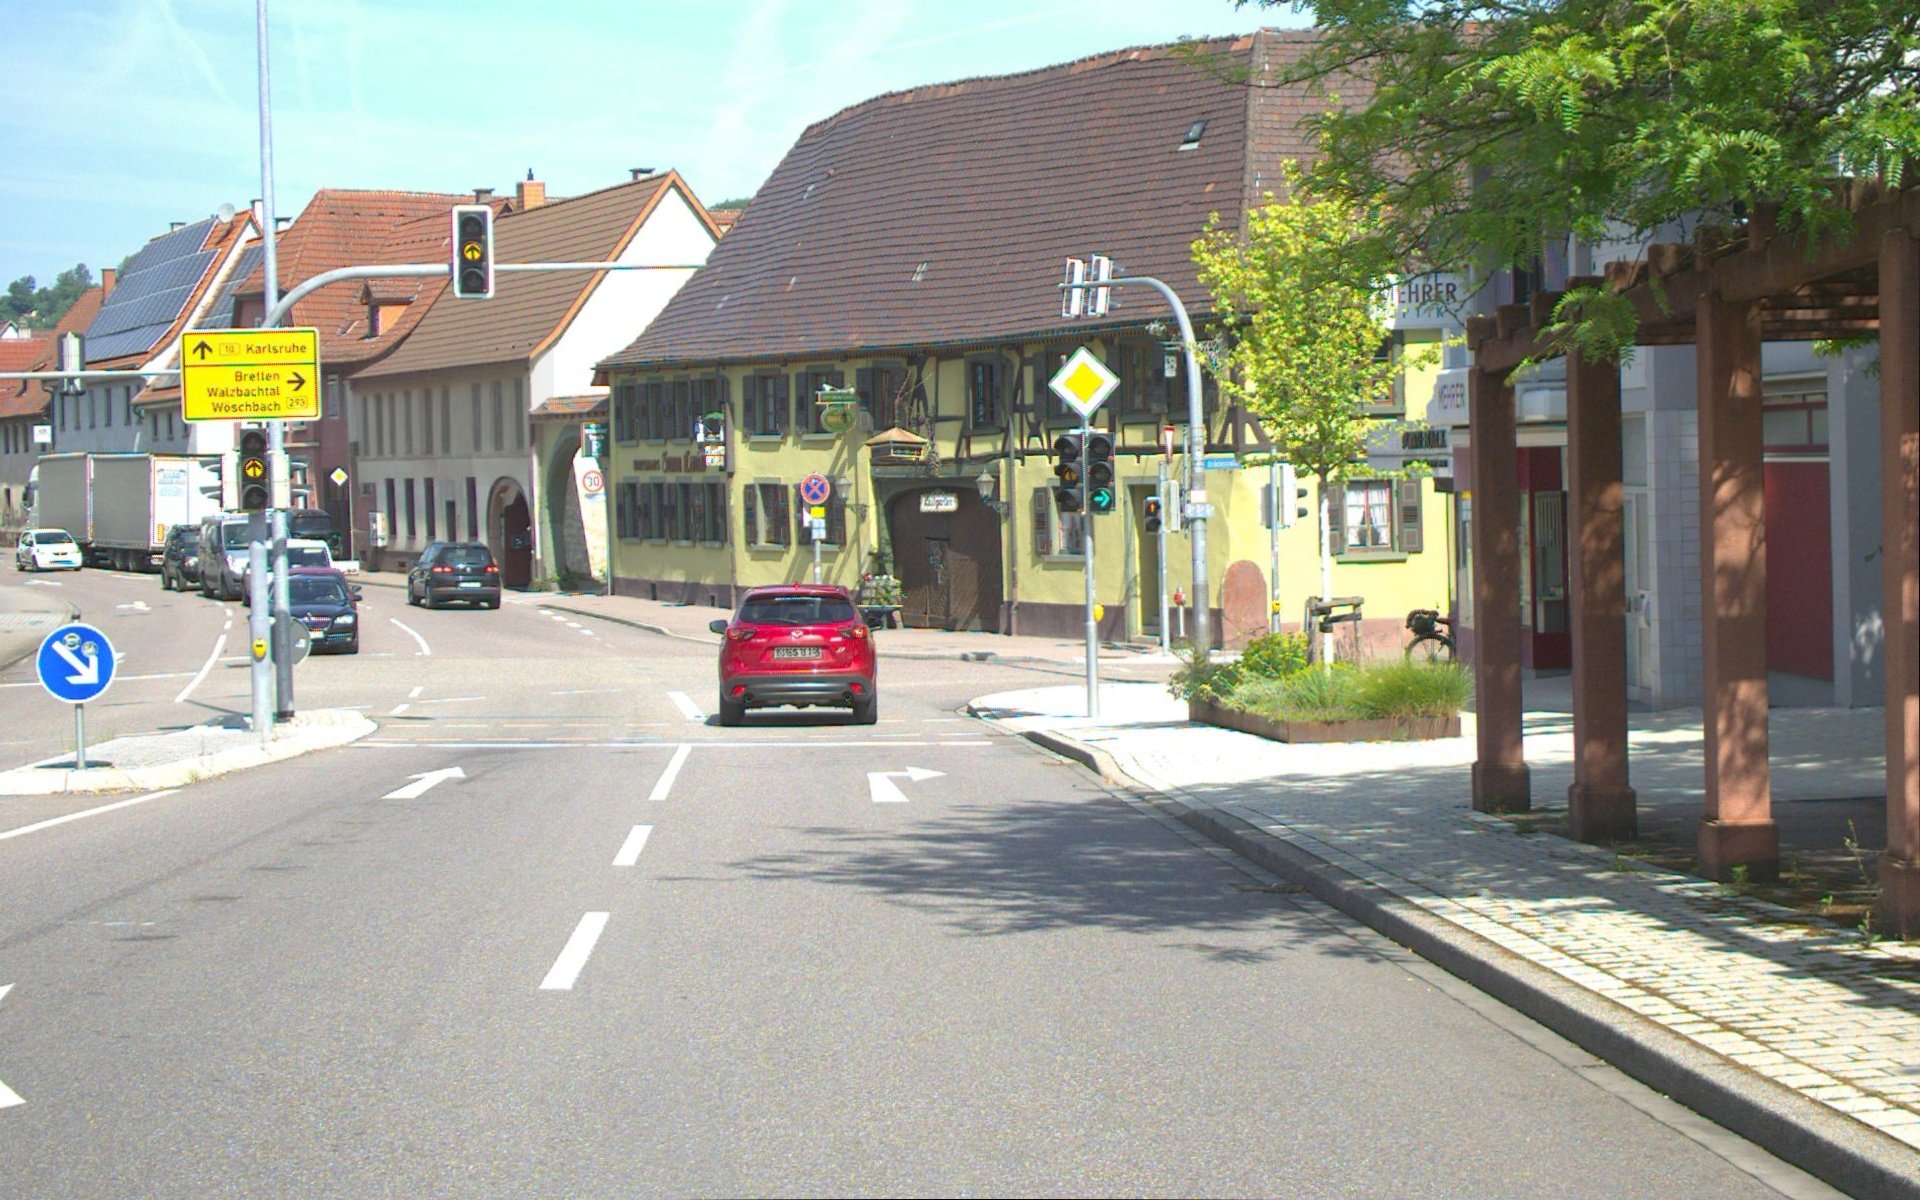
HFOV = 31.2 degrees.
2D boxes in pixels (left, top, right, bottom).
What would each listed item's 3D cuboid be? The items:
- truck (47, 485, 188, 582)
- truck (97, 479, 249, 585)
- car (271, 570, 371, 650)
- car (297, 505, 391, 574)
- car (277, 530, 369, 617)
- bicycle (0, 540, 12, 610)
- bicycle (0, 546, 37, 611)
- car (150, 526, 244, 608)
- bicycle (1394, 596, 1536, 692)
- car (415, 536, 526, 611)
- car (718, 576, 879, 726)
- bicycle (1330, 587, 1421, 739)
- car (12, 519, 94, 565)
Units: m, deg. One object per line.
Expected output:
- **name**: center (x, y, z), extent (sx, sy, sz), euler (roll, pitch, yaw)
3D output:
- **truck**: center (-31.800, -2.465, 129.412), extent (3.159, 3.448, 10.714), euler (1, 0, -24)
- **truck**: center (-27.632, -2.409, 120.374), extent (3.222, 3.537, 9.232), euler (1, 1, -25)
- **car**: center (-12.529, 0.171, 67.268), extent (1.820, 1.429, 4.250), euler (-1, 2, -12)
- **car**: center (-18.622, -1.835, 103.827), extent (1.846, 2.007, 4.001), euler (1, 1, -24)
- **car**: center (-15.181, -0.668, 81.792), extent (1.820, 1.899, 4.966), euler (-1, 2, -14)
- **bicycle**: center (-24.770, -0.630, 87.486), extent (0.641, 1.773, 2.670), euler (1, 1, -2)
- **bicycle**: center (-23.992, -0.564, 87.185), extent (0.558, 1.602, 2.563), euler (1, 1, -2)
- **car**: center (-21.930, -0.967, 98.731), extent (1.757, 2.238, 4.554), euler (1, 1, -24)
- **bicycle**: center (6.838, 0.595, 46.584), extent (1.803, 1.230, 0.549), euler (-2, 1, -3)
- **car**: center (-12.340, -0.689, 86.489), extent (1.820, 1.733, 4.006), euler (-2, 2, -21)
- **car**: center (-1.961, 0.566, 41.188), extent (1.804, 1.657, 3.813), euler (1, 1, -4)
- **bicycle**: center (3.760, 0.553, 31.231), extent (0.529, 1.275, 1.992), euler (-4, 1, 1)
- **car**: center (-31.932, -2.045, 120.974), extent (1.785, 1.521, 4.005), euler (-3, 2, -30)
